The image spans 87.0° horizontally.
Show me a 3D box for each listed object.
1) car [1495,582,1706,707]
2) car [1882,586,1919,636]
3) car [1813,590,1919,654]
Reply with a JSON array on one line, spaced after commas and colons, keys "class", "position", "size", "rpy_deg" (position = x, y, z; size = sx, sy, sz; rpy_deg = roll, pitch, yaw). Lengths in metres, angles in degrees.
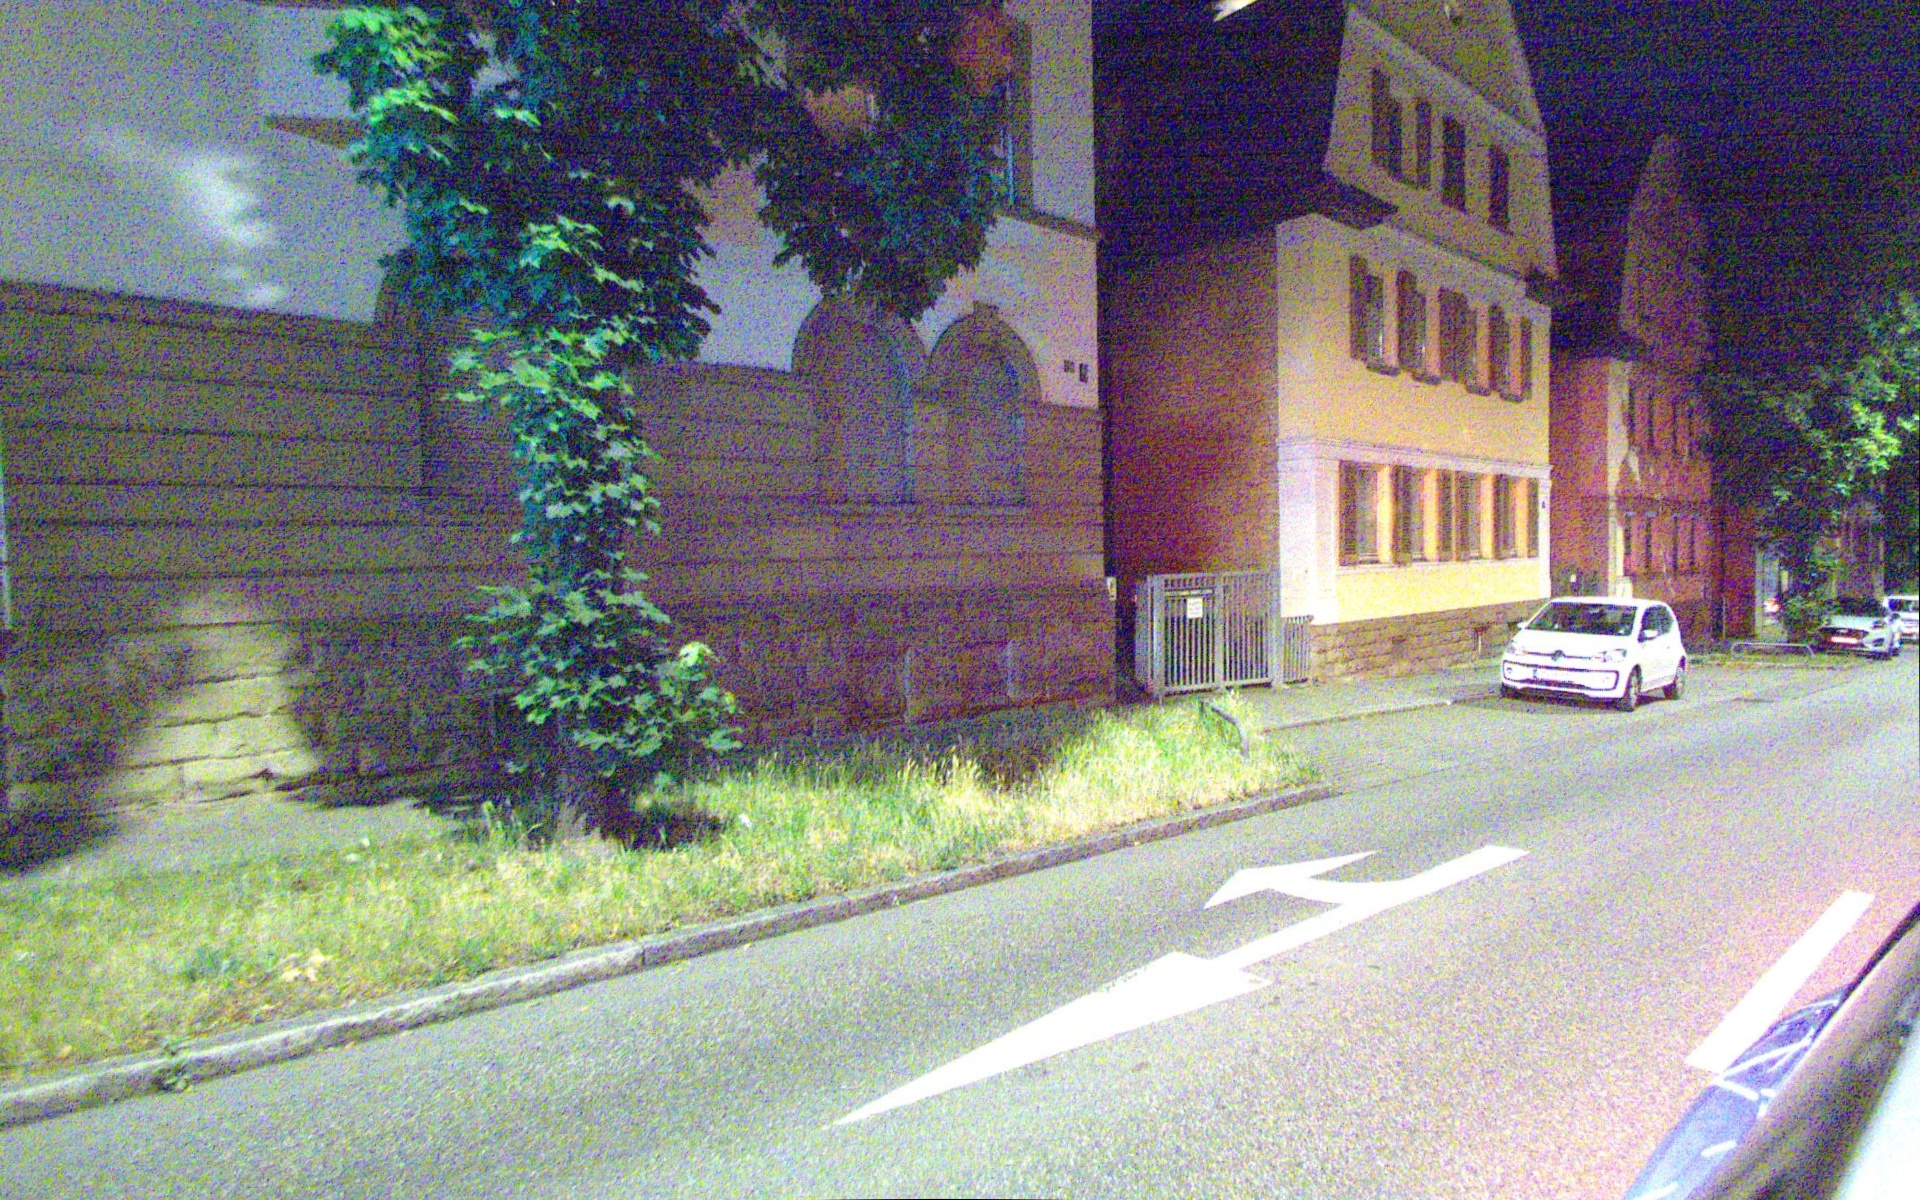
[{"class": "car", "position": [9.245, 0.554, 14.533], "size": [3.425, 1.527, 1.610], "rpy_deg": [0, 2, -41]}, {"class": "car", "position": [33.535, 0.369, 35.137], "size": [4.107, 1.673, 1.850], "rpy_deg": [0, 0, -42]}, {"class": "car", "position": [23.611, 0.508, 26.280], "size": [3.824, 1.516, 1.740], "rpy_deg": [0, 2, -43]}]
